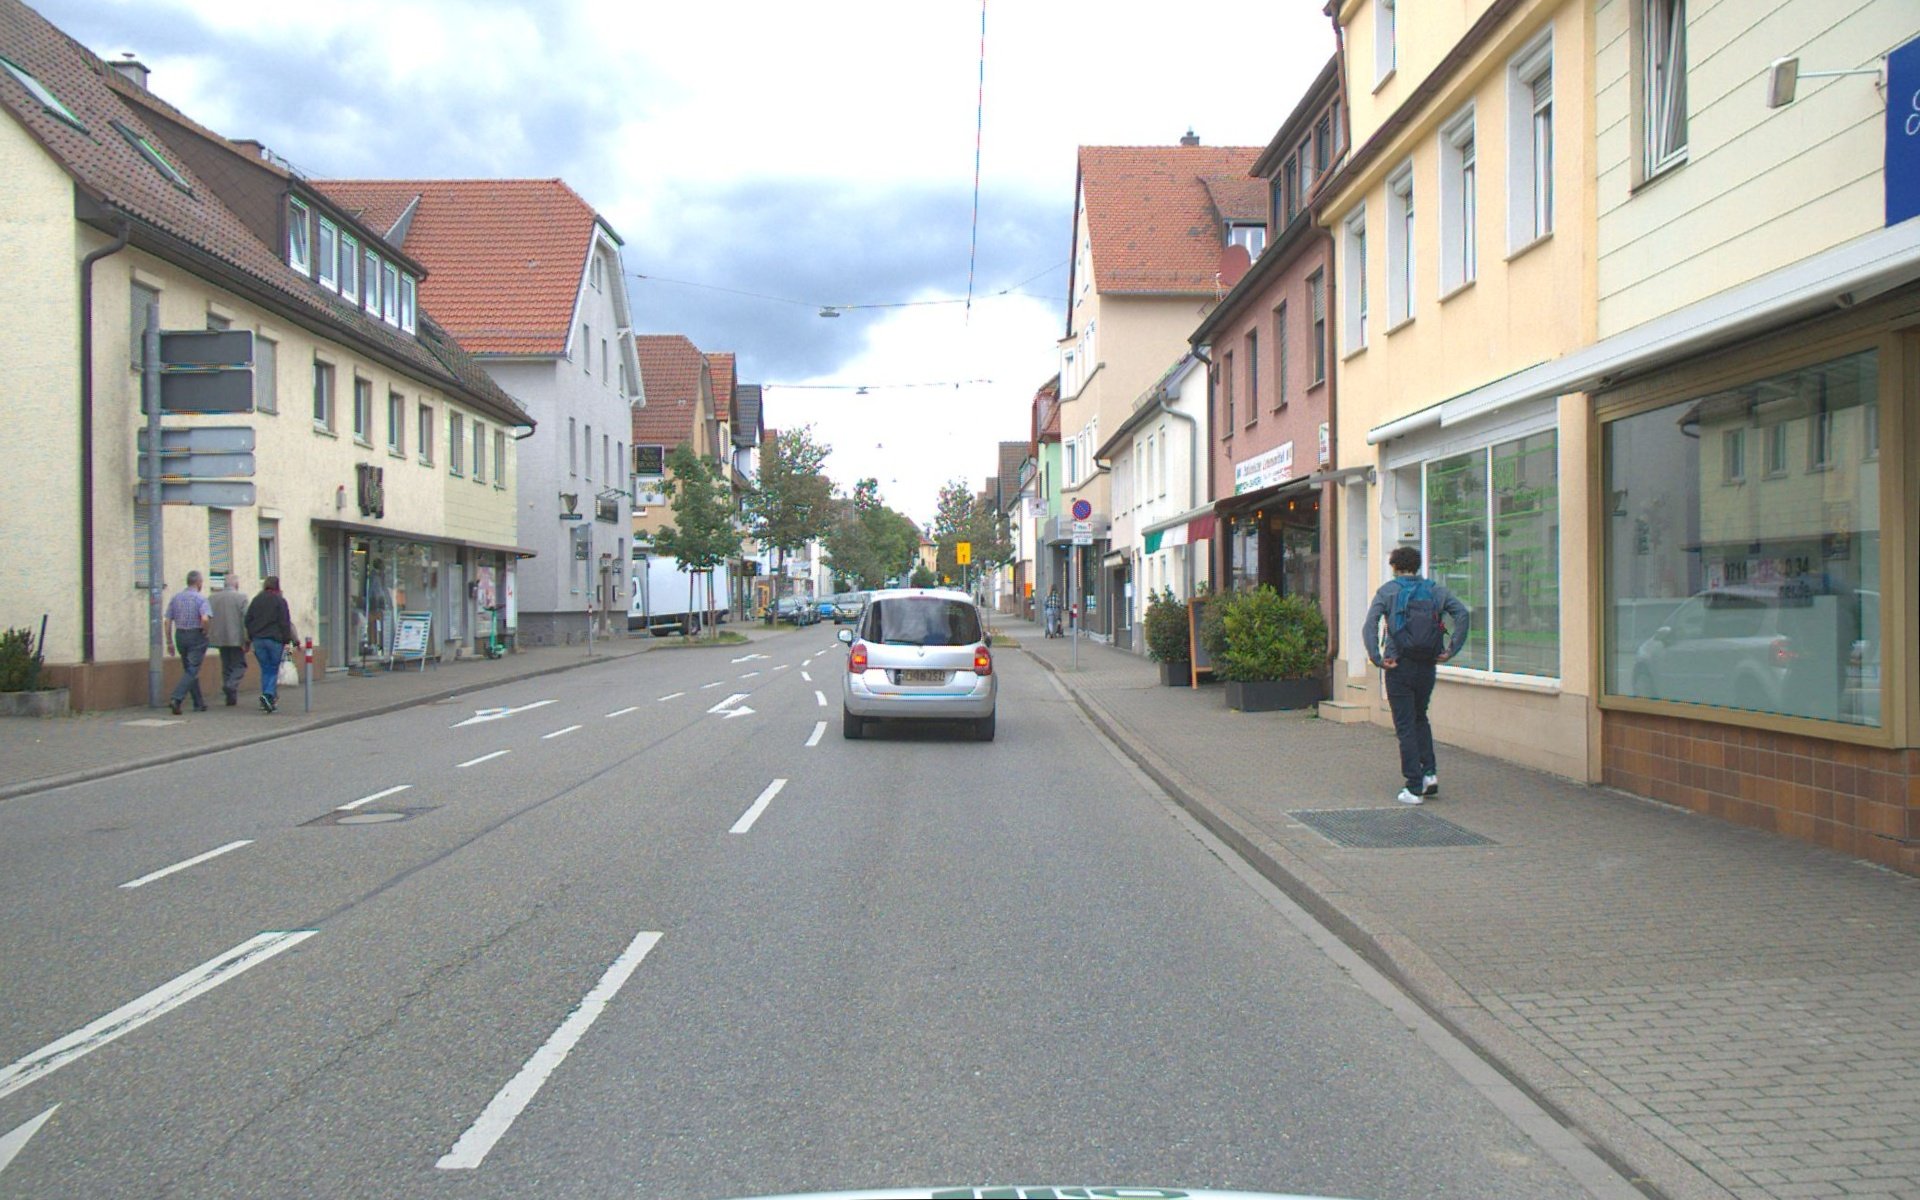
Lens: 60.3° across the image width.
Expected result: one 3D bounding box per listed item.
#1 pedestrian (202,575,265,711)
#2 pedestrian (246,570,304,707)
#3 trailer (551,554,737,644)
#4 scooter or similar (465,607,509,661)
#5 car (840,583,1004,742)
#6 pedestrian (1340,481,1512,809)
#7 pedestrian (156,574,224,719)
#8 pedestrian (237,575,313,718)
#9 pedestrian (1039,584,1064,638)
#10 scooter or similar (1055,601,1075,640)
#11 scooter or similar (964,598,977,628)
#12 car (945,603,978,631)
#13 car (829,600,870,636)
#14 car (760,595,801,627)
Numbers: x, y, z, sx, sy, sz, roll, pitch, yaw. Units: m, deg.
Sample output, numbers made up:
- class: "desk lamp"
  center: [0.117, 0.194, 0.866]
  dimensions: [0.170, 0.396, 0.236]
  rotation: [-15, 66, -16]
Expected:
- class: "pedestrian"
  center: [-9.595, 0.562, 21.858]
  dimensions: [0.542, 1.767, 0.648]
  rotation: [-1, 0, -1]
- class: "pedestrian"
  center: [-8.983, 0.500, 21.698]
  dimensions: [0.486, 1.767, 0.648]
  rotation: [-1, 0, -1]
- class: "trailer"
  center: [-12.009, -0.019, 63.421]
  dimensions: [2.464, 3.275, 7.099]
  rotation: [1, 0, 39]
- class: "scooter or similar"
  center: [-10.721, 0.763, 37.567]
  dimensions: [0.517, 1.190, 1.721]
  rotation: [1, 0, -1]
- class: "car"
  center: [-0.395, 0.638, 18.896]
  dimensions: [1.648, 1.593, 3.993]
  rotation: [1, 0, 0]
- class: "pedestrian"
  center: [3.180, 0.298, 11.386]
  dimensions: [0.807, 2.110, 1.011]
  rotation: [-3, 0, 2]
- class: "pedestrian"
  center: [-9.565, 0.564, 20.558]
  dimensions: [0.542, 1.767, 0.648]
  rotation: [-1, 0, -1]
- class: "pedestrian"
  center: [-8.675, 0.576, 20.966]
  dimensions: [0.664, 1.767, 0.717]
  rotation: [-1, 0, -1]
- class: "pedestrian"
  center: [2.973, 0.356, 53.740]
  dimensions: [0.735, 1.750, 0.900]
  rotation: [1, 0, -1]
- class: "scooter or similar"
  center: [3.466, 0.674, 54.710]
  dimensions: [0.577, 1.254, 0.891]
  rotation: [1, 0, -1]
- class: "scooter or similar"
  center: [0.433, 0.545, 71.040]
  dimensions: [0.492, 1.257, 1.942]
  rotation: [1, 0, -1]
- class: "car"
  center: [0.100, 0.947, 93.578]
  dimensions: [1.793, 1.471, 4.331]
  rotation: [1, 0, 0]
- class: "car"
  center: [-5.835, 0.943, 87.790]
  dimensions: [1.953, 1.827, 4.276]
  rotation: [-1, 0, -1]
- class: "car"
  center: [-8.703, 0.528, 80.357]
  dimensions: [1.648, 1.449, 3.930]
  rotation: [-2, 0, -2]
